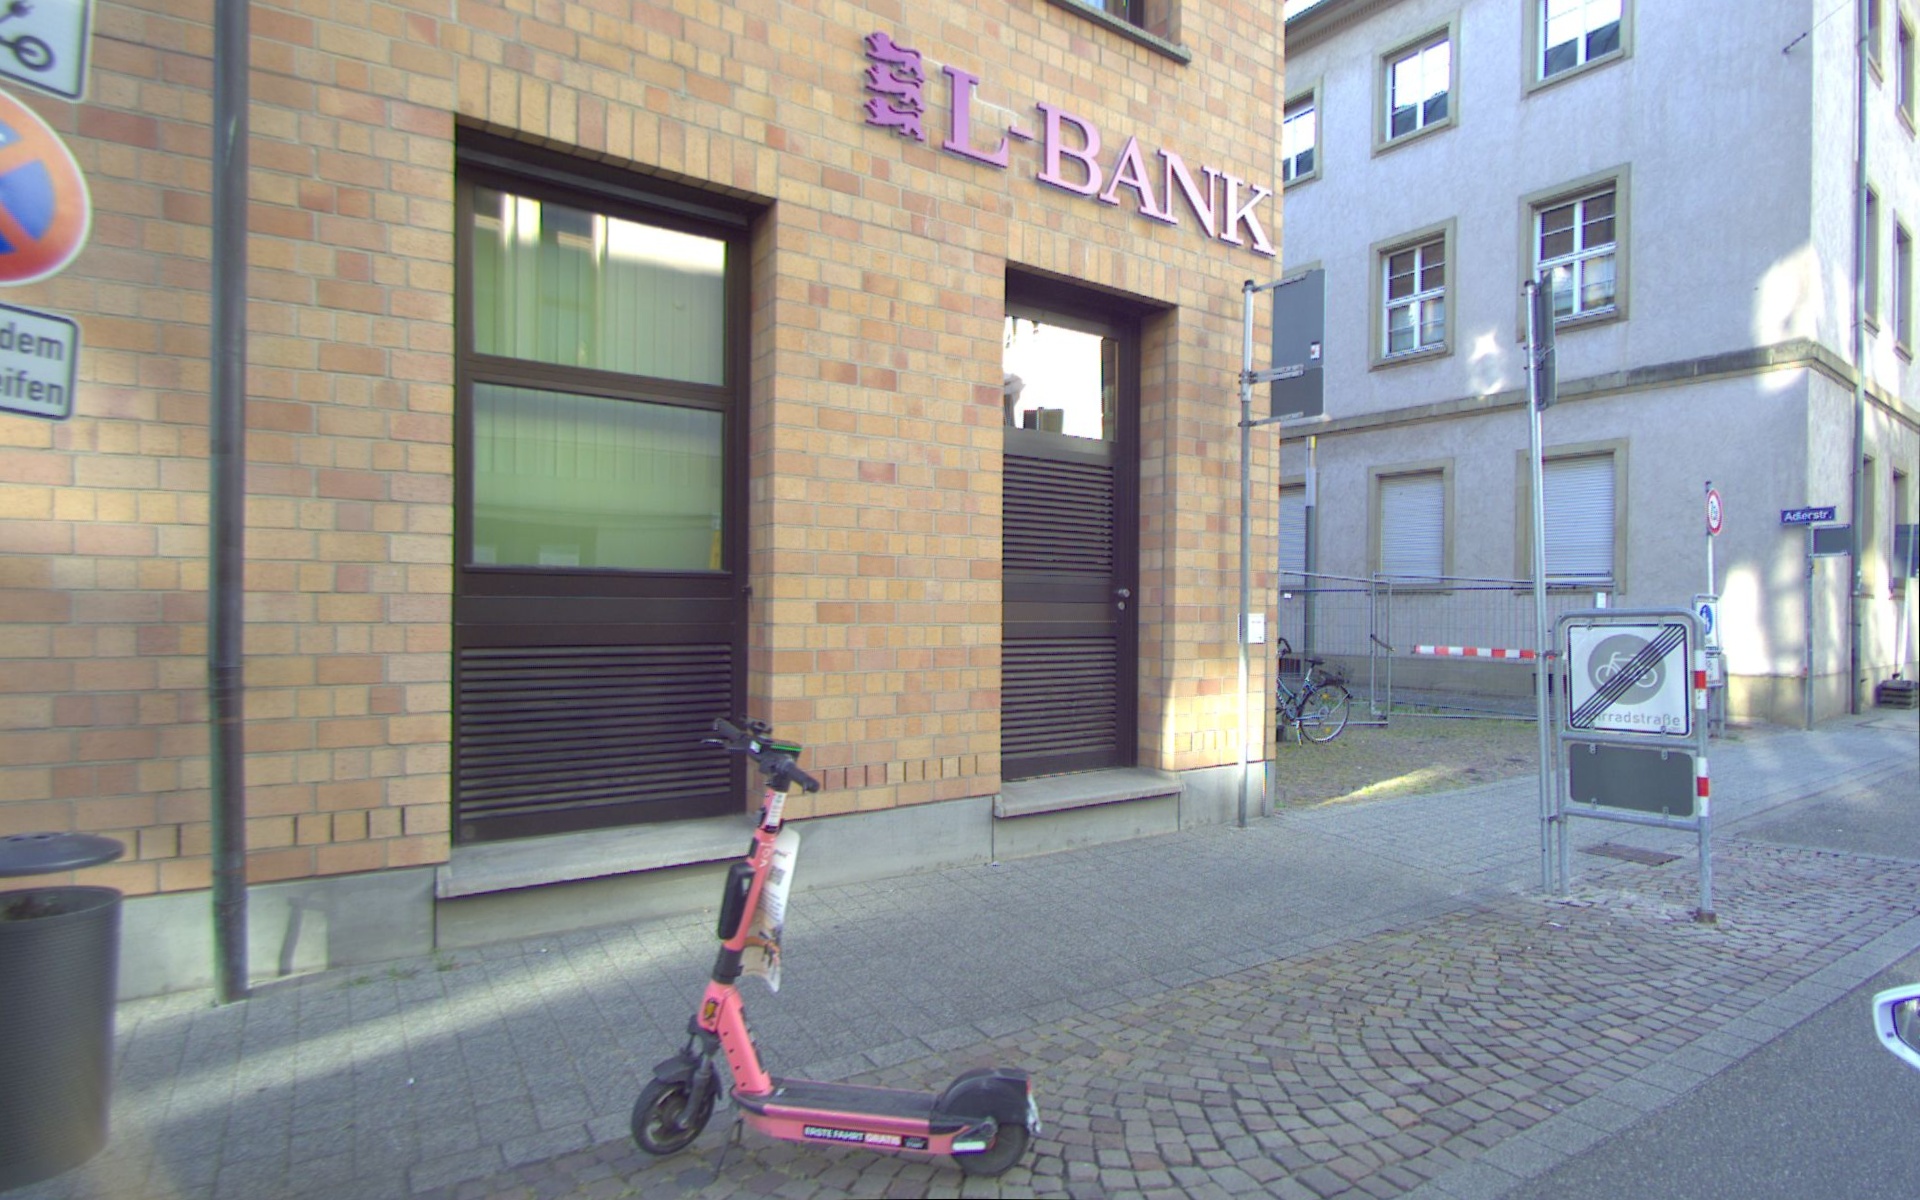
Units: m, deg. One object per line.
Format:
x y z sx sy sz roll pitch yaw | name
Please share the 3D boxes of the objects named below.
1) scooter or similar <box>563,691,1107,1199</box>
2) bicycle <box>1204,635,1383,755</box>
-0.316 0.902 2.834 1.331 1.233 0.700 0 -1 -4 | scooter or similar
3.708 1.026 11.209 1.745 1.217 0.808 1 1 -17 | bicycle
